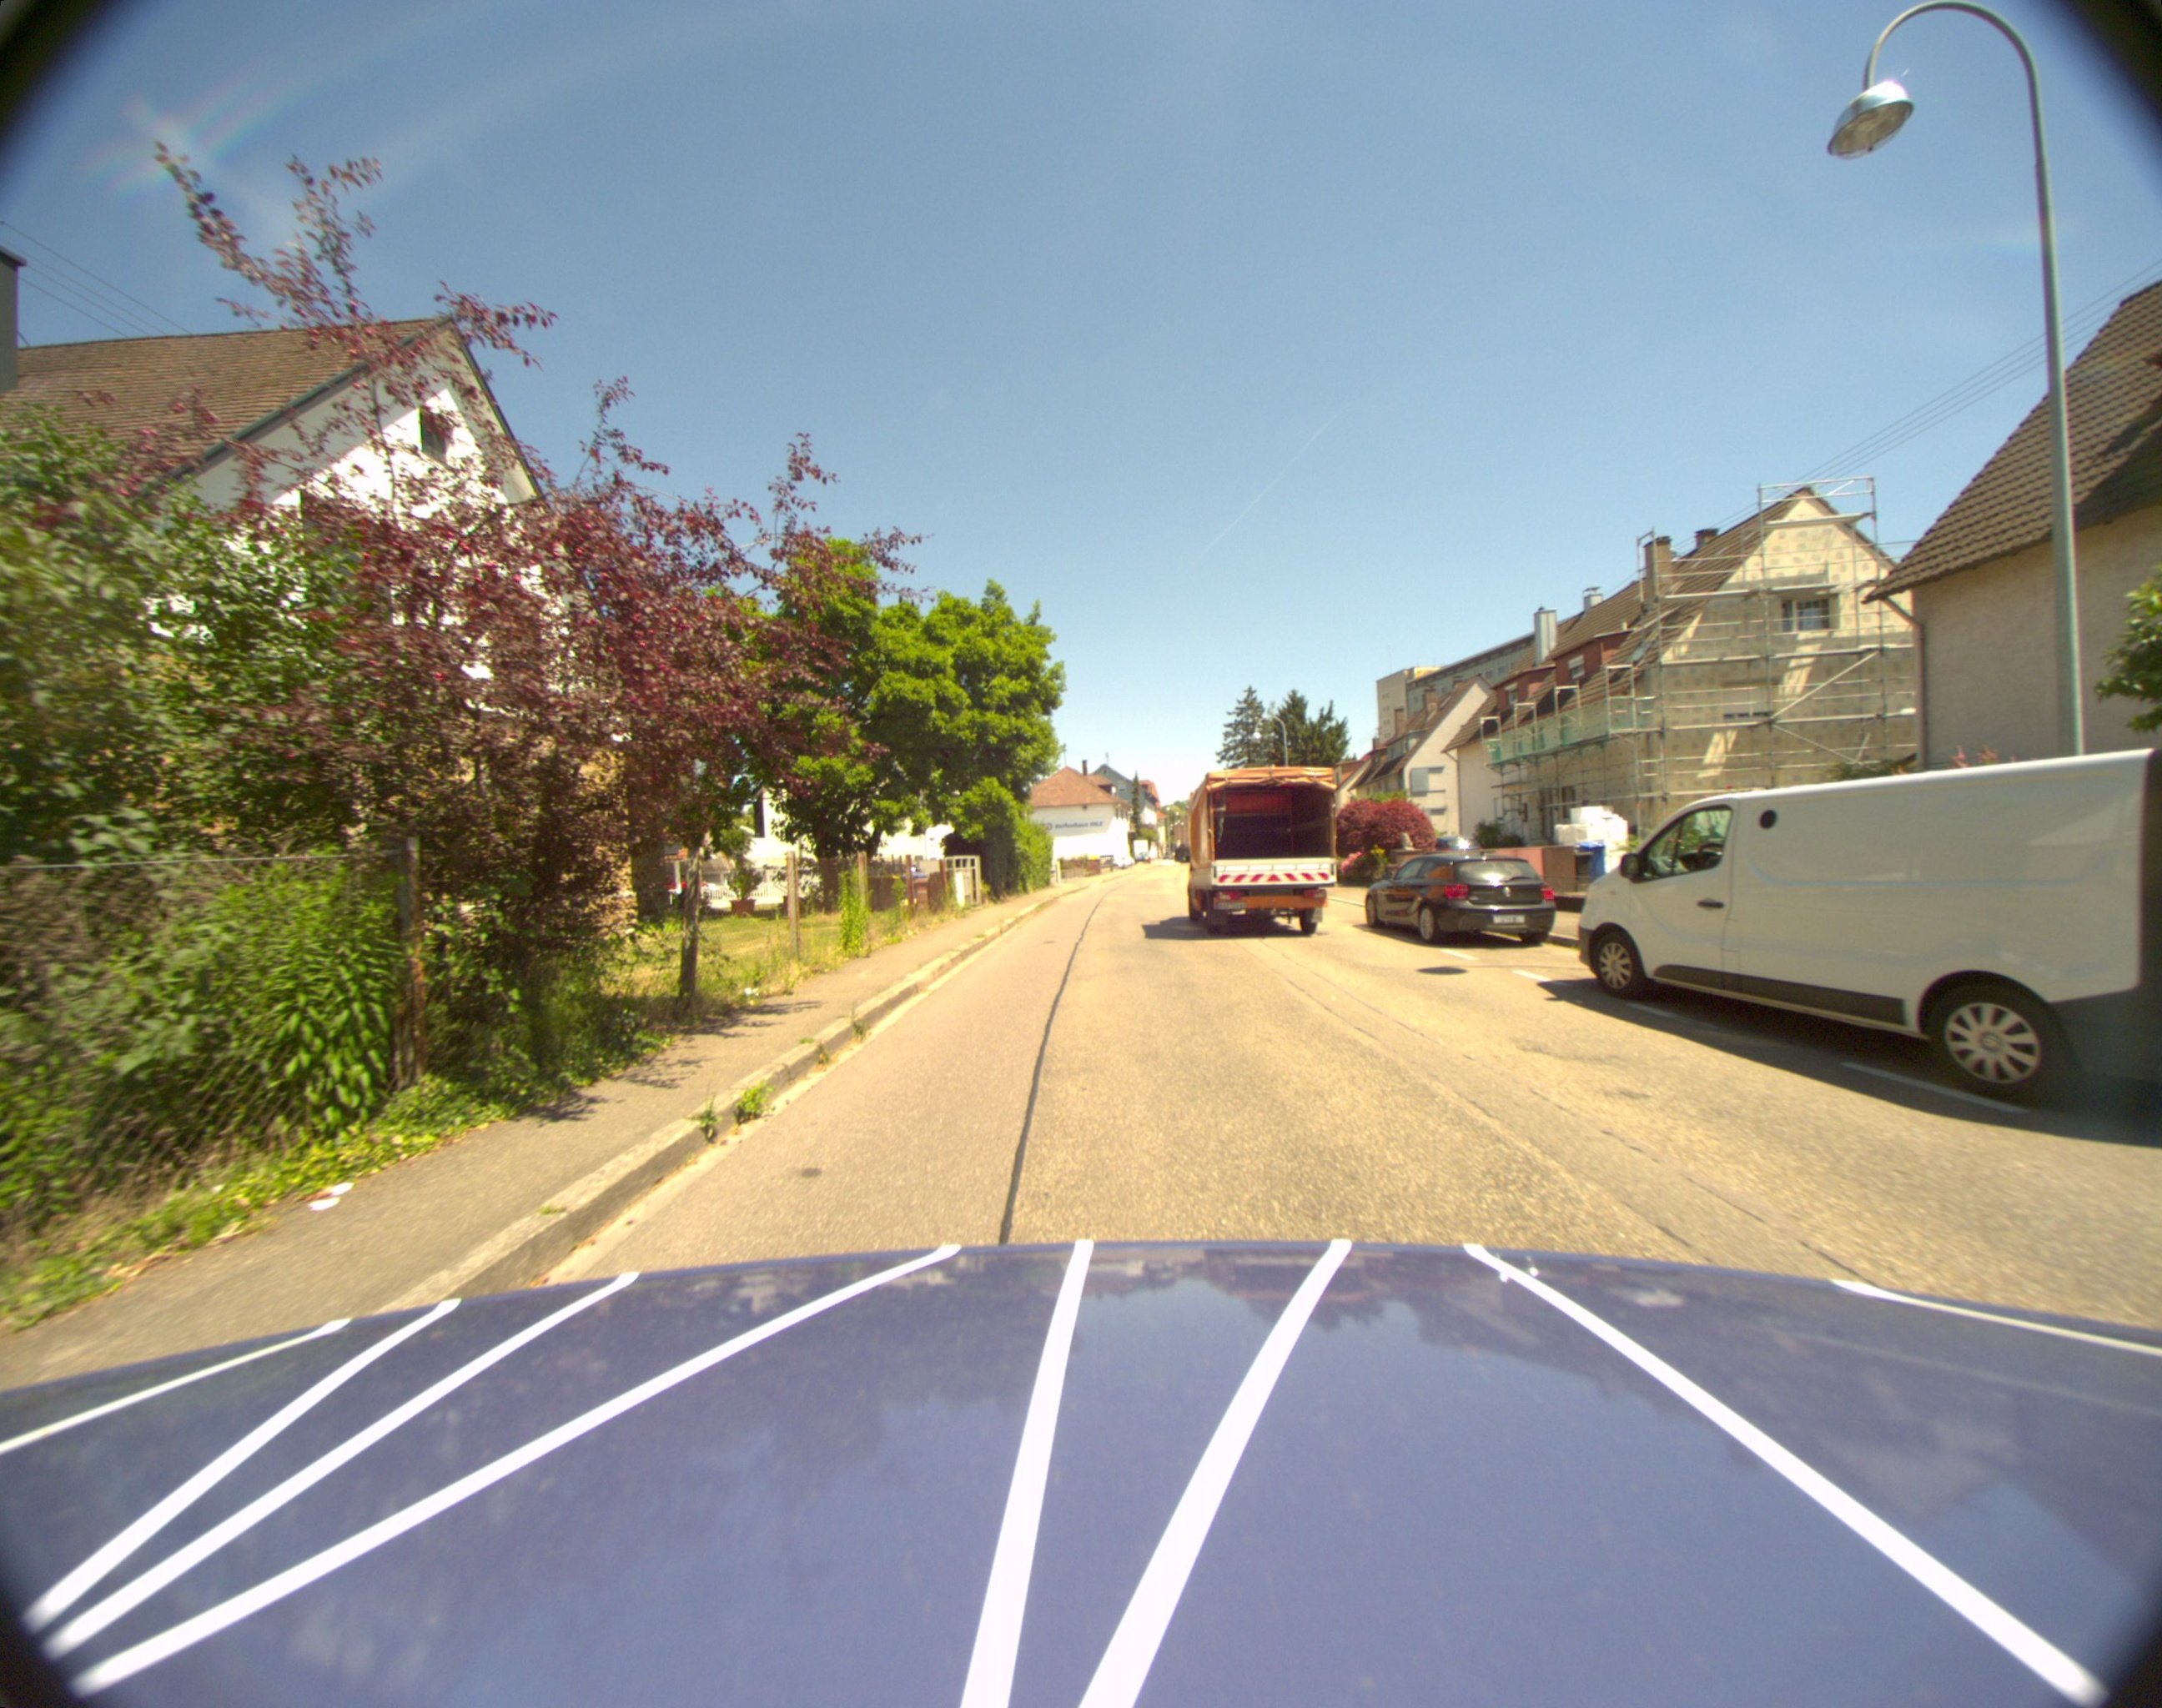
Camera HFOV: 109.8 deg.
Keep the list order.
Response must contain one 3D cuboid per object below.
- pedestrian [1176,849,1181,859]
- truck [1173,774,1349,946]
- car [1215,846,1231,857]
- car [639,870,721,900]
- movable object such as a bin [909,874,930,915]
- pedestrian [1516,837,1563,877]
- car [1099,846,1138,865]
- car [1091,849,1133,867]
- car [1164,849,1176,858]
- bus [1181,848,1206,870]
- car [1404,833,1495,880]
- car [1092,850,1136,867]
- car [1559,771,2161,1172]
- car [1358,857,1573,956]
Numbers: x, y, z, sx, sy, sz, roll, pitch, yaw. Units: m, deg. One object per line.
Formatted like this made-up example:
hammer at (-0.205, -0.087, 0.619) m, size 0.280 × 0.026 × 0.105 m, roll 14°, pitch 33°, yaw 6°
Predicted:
pedestrian at (15.917, 0.026, 123.773) m, size 0.614 × 1.607 × 0.752 m, roll 0°, pitch 2°, yaw 28°
truck at (3.352, 0.095, 15.540) m, size 2.379 × 2.813 × 5.659 m, roll -2°, pitch 0°, yaw 2°
car at (18.151, -0.328, 97.094) m, size 1.734 × 1.409 × 4.003 m, roll -1°, pitch 1°, yaw 13°
car at (-21.157, 1.622, 40.172) m, size 3.467 × 1.381 × 1.490 m, roll -2°, pitch 1°, yaw 0°
movable object such as a bin at (-4.274, 1.063, 20.128) m, size 0.400 × 1.058 × 0.546 m, roll -1°, pitch 0°, yaw 4°
pedestrian at (15.434, 0.089, 25.609) m, size 0.705 × 1.257 × 1.210 m, roll -5°, pitch 2°, yaw -7°
car at (4.317, 0.151, 87.941) m, size 4.300 × 1.820 × 1.740 m, roll -6°, pitch 0°, yaw 3°
car at (3.369, 0.462, 82.387) m, size 4.294 × 1.539 × 1.759 m, roll -5°, pitch 1°, yaw 43°
car at (16.063, -0.072, 137.005) m, size 1.760 × 1.505 × 3.744 m, roll 1°, pitch 1°, yaw 12°
bus at (17.989, 0.747, 120.974) m, size 2.908 × 3.062 × 12.573 m, roll -2°, pitch 0°, yaw 13°
car at (14.109, 0.104, 29.328) m, size 1.689 × 1.505 × 4.001 m, roll -7°, pitch 0°, yaw 4°
car at (3.726, 0.471, 85.451) m, size 4.648 × 1.400 × 1.770 m, roll -6°, pitch 0°, yaw 12°
car at (6.018, 0.518, 5.640) m, size 1.891 × 1.870 × 4.981 m, roll -2°, pitch 0°, yaw 2°
car at (6.238, 0.760, 12.942) m, size 1.702 × 1.376 × 4.236 m, roll 0°, pitch 0°, yaw 3°
